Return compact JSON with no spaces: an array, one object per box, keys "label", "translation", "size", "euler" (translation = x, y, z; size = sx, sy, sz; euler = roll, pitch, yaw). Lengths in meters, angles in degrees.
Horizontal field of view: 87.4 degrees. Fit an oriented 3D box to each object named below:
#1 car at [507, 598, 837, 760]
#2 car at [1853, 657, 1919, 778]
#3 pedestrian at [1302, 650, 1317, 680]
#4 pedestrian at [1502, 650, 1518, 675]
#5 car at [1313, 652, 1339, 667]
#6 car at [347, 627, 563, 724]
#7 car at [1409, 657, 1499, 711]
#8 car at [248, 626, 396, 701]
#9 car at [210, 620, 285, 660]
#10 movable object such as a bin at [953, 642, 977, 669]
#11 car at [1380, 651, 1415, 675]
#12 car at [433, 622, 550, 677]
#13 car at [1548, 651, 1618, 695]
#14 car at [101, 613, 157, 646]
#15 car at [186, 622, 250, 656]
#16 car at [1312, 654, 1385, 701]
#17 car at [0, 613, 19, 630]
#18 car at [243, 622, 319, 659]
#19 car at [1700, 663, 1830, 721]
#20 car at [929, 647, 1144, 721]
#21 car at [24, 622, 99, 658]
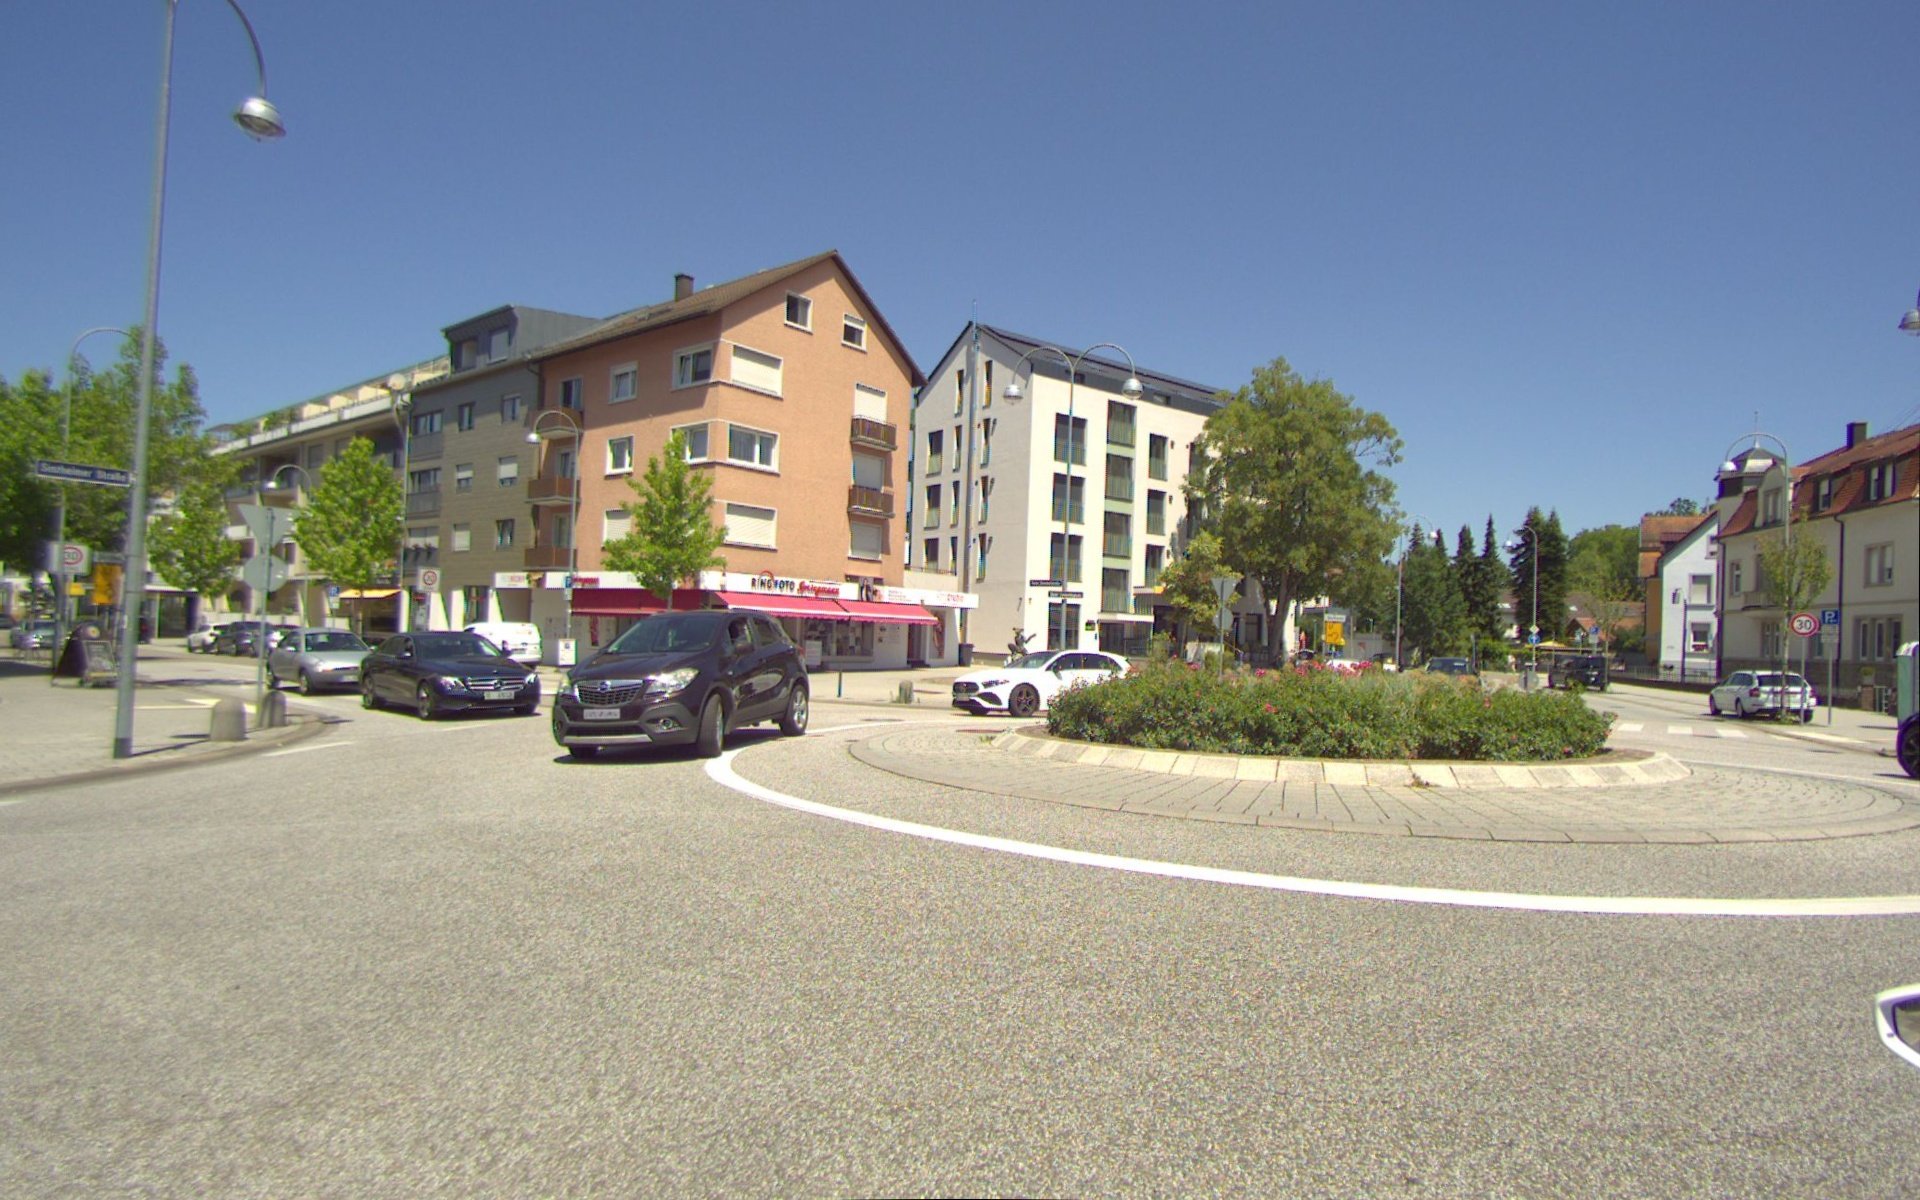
[{"label":"car","translation":[-3.165,0.893,12.063],"size":[1.960,1.582,4.169],"euler":[-1,-3,14]},{"label":"car","translation":[11.994,1.339,10.429],"size":[1.942,1.416,4.632],"euler":[3,-4,11]},{"label":"pedestrian","translation":[18.071,3.353,51.996],"size":[0.525,1.505,0.553],"euler":[0,-3,44]},{"label":"pedestrian","translation":[41.844,4.759,76.361],"size":[0.828,1.838,0.549],"euler":[3,1,5]},{"label":"car","translation":[35.963,5.844,98.720],"size":[1.514,1.396,4.003],"euler":[2,-2,7]},{"label":"car","translation":[-9.397,1.286,18.527],"size":[4.640,1.497,1.990],"euler":[0,-2,42]},{"label":"car","translation":[17.164,2.870,34.799],"size":[1.969,1.710,4.510],"euler":[-1,-3,37]},{"label":"car","translation":[-14.489,1.365,22.741],"size":[3.853,1.497,1.848],"euler":[0,-2,42]},{"label":"car","translation":[-33.687,1.858,47.447],"size":[4.634,1.728,1.762],"euler":[0,-1,40]},{"label":"movable object such as a bin","translation":[0.233,2.553,45.999],"size":[0.753,1.170,0.766],"euler":[2,1,-34]},{"label":"car","translation":[33.719,4.842,77.483],"size":[1.960,1.710,4.529],"euler":[1,-2,17]},{"label":"car","translation":[-16.294,1.681,34.923],"size":[3.839,1.747,1.750],"euler":[0,-1,29]},{"label":"car","translation":[32.745,3.789,52.901],"size":[1.960,1.890,4.288],"euler":[3,0,16]},{"label":"car","translation":[-51.623,1.804,62.359],"size":[4.501,1.822,1.990],"euler":[2,0,41]},{"label":"car","translation":[-37.669,1.961,50.957],"size":[4.162,1.604,1.719],"euler":[0,-2,41]},{"label":"car","translation":[15.175,2.966,39.089],"size":[1.771,1.611,3.990],"euler":[3,-1,33]},{"label":"car","translation":[-87.221,1.942,91.238],"size":[4.282,1.469,1.974],"euler":[1,0,39]},{"label":"car","translation":[-29.880,1.766,44.179],"size":[3.884,1.570,1.740],"euler":[-1,-2,40]},{"label":"car","translation":[24.715,2.809,31.023],"size":[1.962,1.604,4.286],"euler":[-4,-4,23]},{"label":"car","translation":[1.636,1.697,20.879],"size":[4.245,1.400,1.915],"euler":[3,-4,-35]},{"label":"car","translation":[-44.864,1.986,50.117],"size":[4.923,1.613,1.991],"euler":[0,-3,40]}]
